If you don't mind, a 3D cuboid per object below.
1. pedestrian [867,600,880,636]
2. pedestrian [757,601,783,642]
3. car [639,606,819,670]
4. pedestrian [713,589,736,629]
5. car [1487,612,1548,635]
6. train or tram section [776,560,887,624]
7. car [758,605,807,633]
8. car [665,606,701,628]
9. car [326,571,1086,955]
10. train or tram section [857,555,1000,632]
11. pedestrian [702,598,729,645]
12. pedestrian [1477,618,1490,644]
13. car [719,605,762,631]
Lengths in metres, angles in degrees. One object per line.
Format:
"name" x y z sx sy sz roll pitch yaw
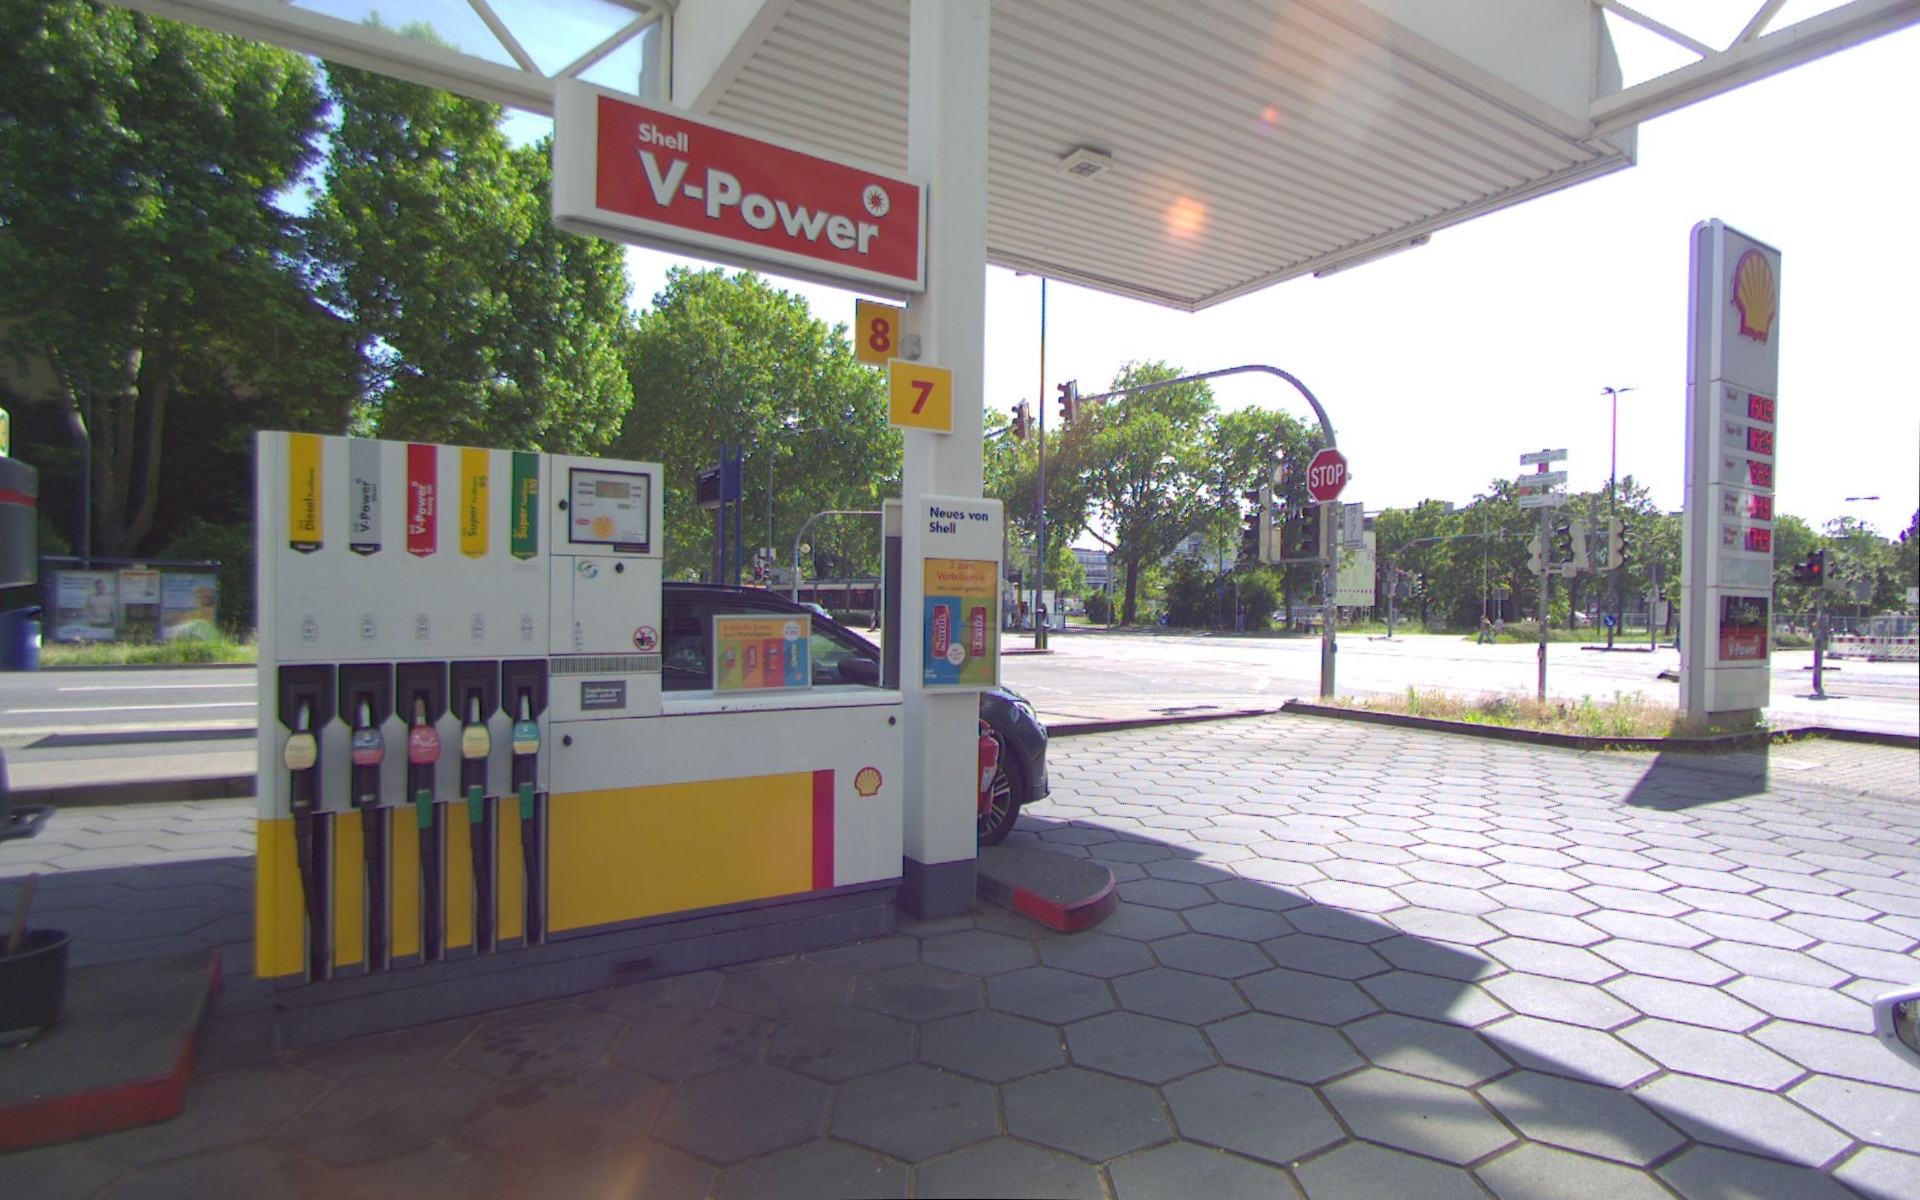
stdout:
"pedestrian" -4.896 1.009 56.763 0.691 2.013 0.741 0 -2 -2
"pedestrian" -8.221 0.946 43.532 0.678 1.746 0.865 -1 -2 43
"car" -5.611 0.910 24.539 3.958 1.385 1.670 1 2 -33
"pedestrian" -10.221 0.390 43.572 0.778 1.696 0.556 2 -2 -35
"car" 46.267 1.977 83.431 1.975 1.839 3.972 1 -2 -27
"train or tram section" -10.523 -0.573 79.547 2.303 4.549 15.787 1 -1 -32
"car" -11.328 1.261 63.910 1.847 1.711 3.968 1 -2 -30
"car" -22.915 1.440 83.032 1.847 1.711 3.968 1 -2 -30
"car" -1.346 0.722 5.884 3.957 1.552 1.734 2 -2 -33
"train or tram section" -2.497 -0.413 66.506 2.303 4.549 14.814 1 -1 -32
"pedestrian" -9.898 0.870 40.719 0.759 1.881 0.723 -1 -2 30
"pedestrian" 30.184 1.762 57.918 0.555 1.488 0.512 1 0 34
"car" -15.385 1.291 70.314 1.847 1.711 3.968 1 -2 -30
